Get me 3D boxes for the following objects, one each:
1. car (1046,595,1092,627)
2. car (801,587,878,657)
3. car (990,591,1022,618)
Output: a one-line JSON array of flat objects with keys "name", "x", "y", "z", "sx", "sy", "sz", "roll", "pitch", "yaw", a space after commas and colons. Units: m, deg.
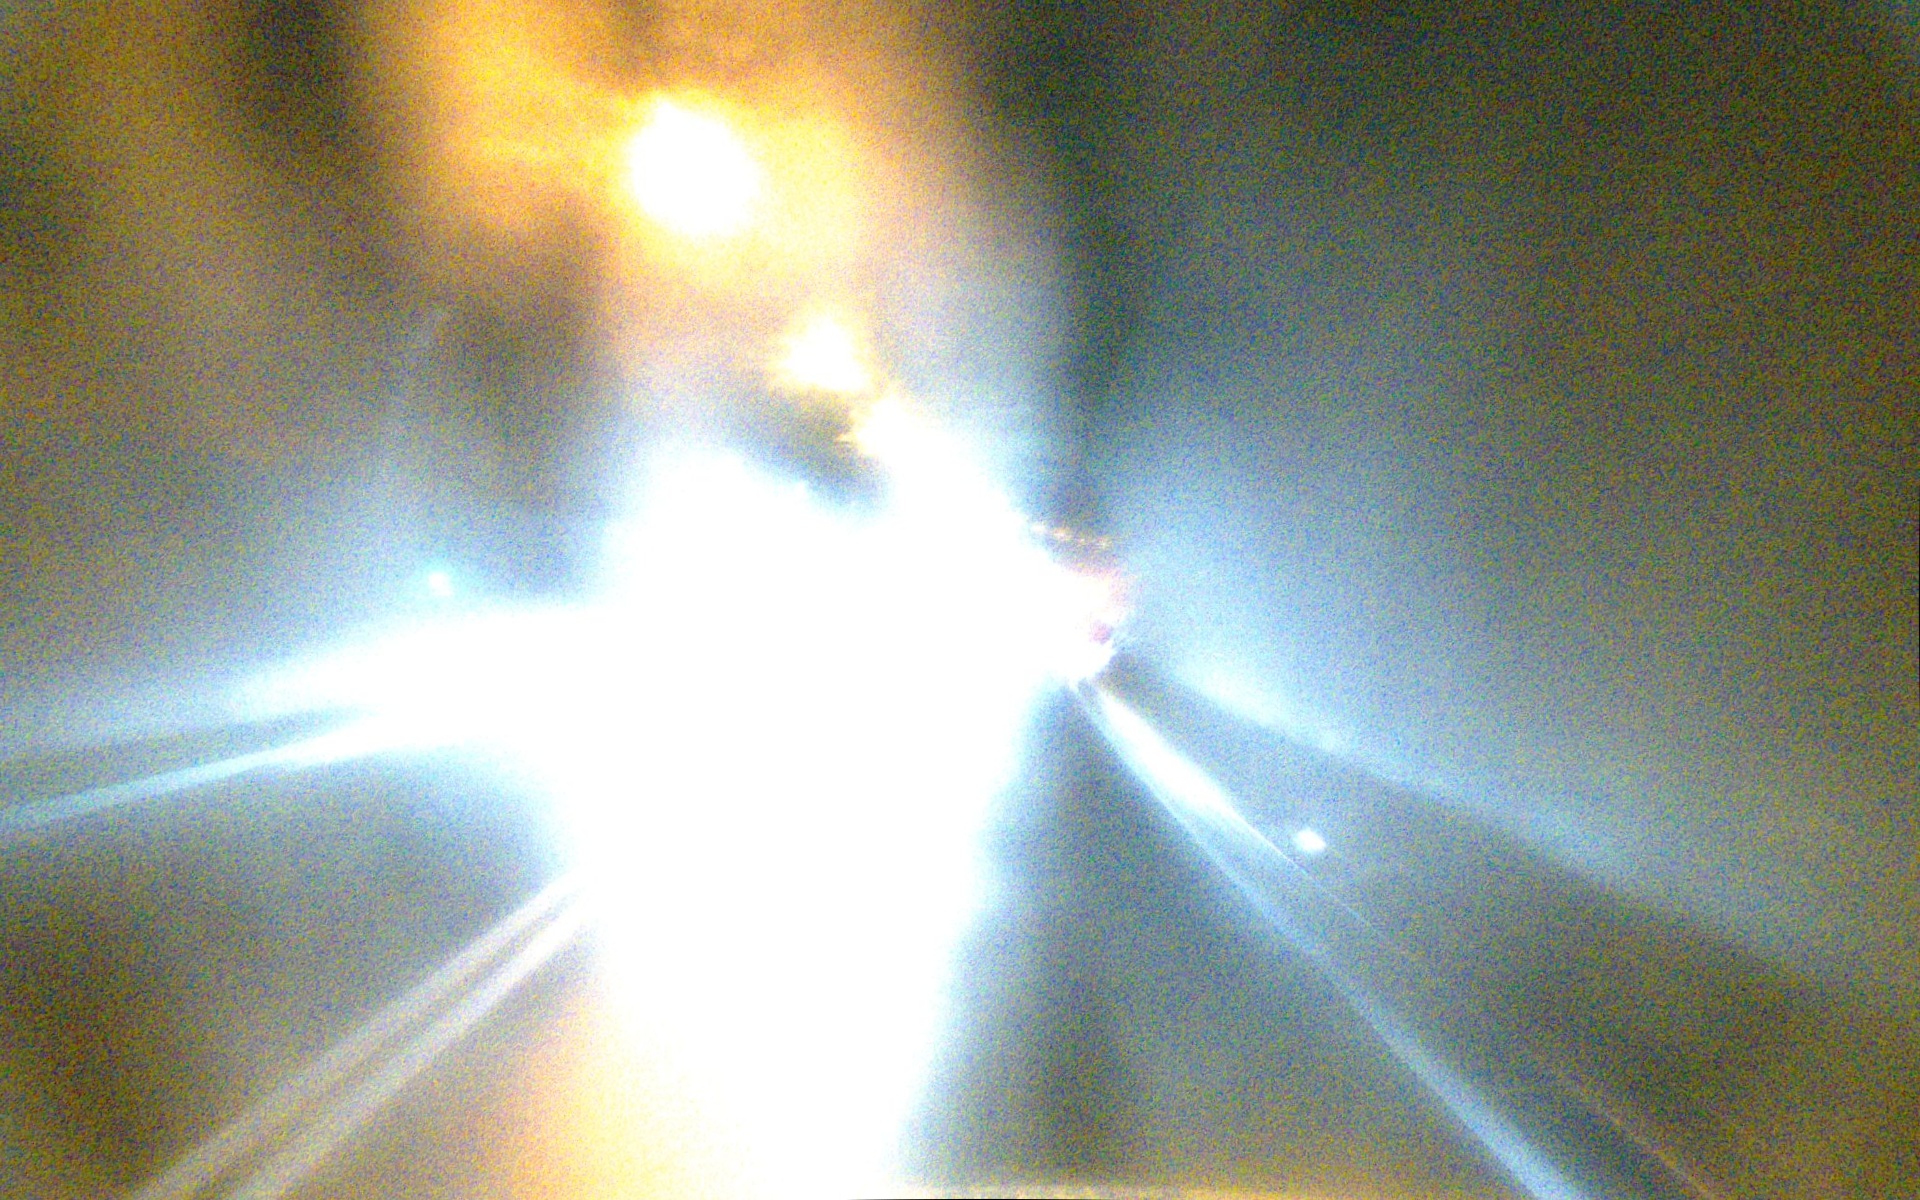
[{"name": "car", "x": 6.034, "y": 0.585, "z": 91.037, "sx": 1.951, "sy": 1.679, "sz": 4.004, "roll": 0, "pitch": 0, "yaw": 12}, {"name": "car", "x": -2.663, "y": 0.458, "z": 37.271, "sx": 1.593, "sy": 1.472, "sz": 3.935, "roll": 1, "pitch": 0, "yaw": -2}, {"name": "car", "x": 2.466, "y": 0.212, "z": 87.781, "sx": 1.595, "sy": 1.422, "sz": 4.002, "roll": 0, "pitch": 0, "yaw": 3}]
